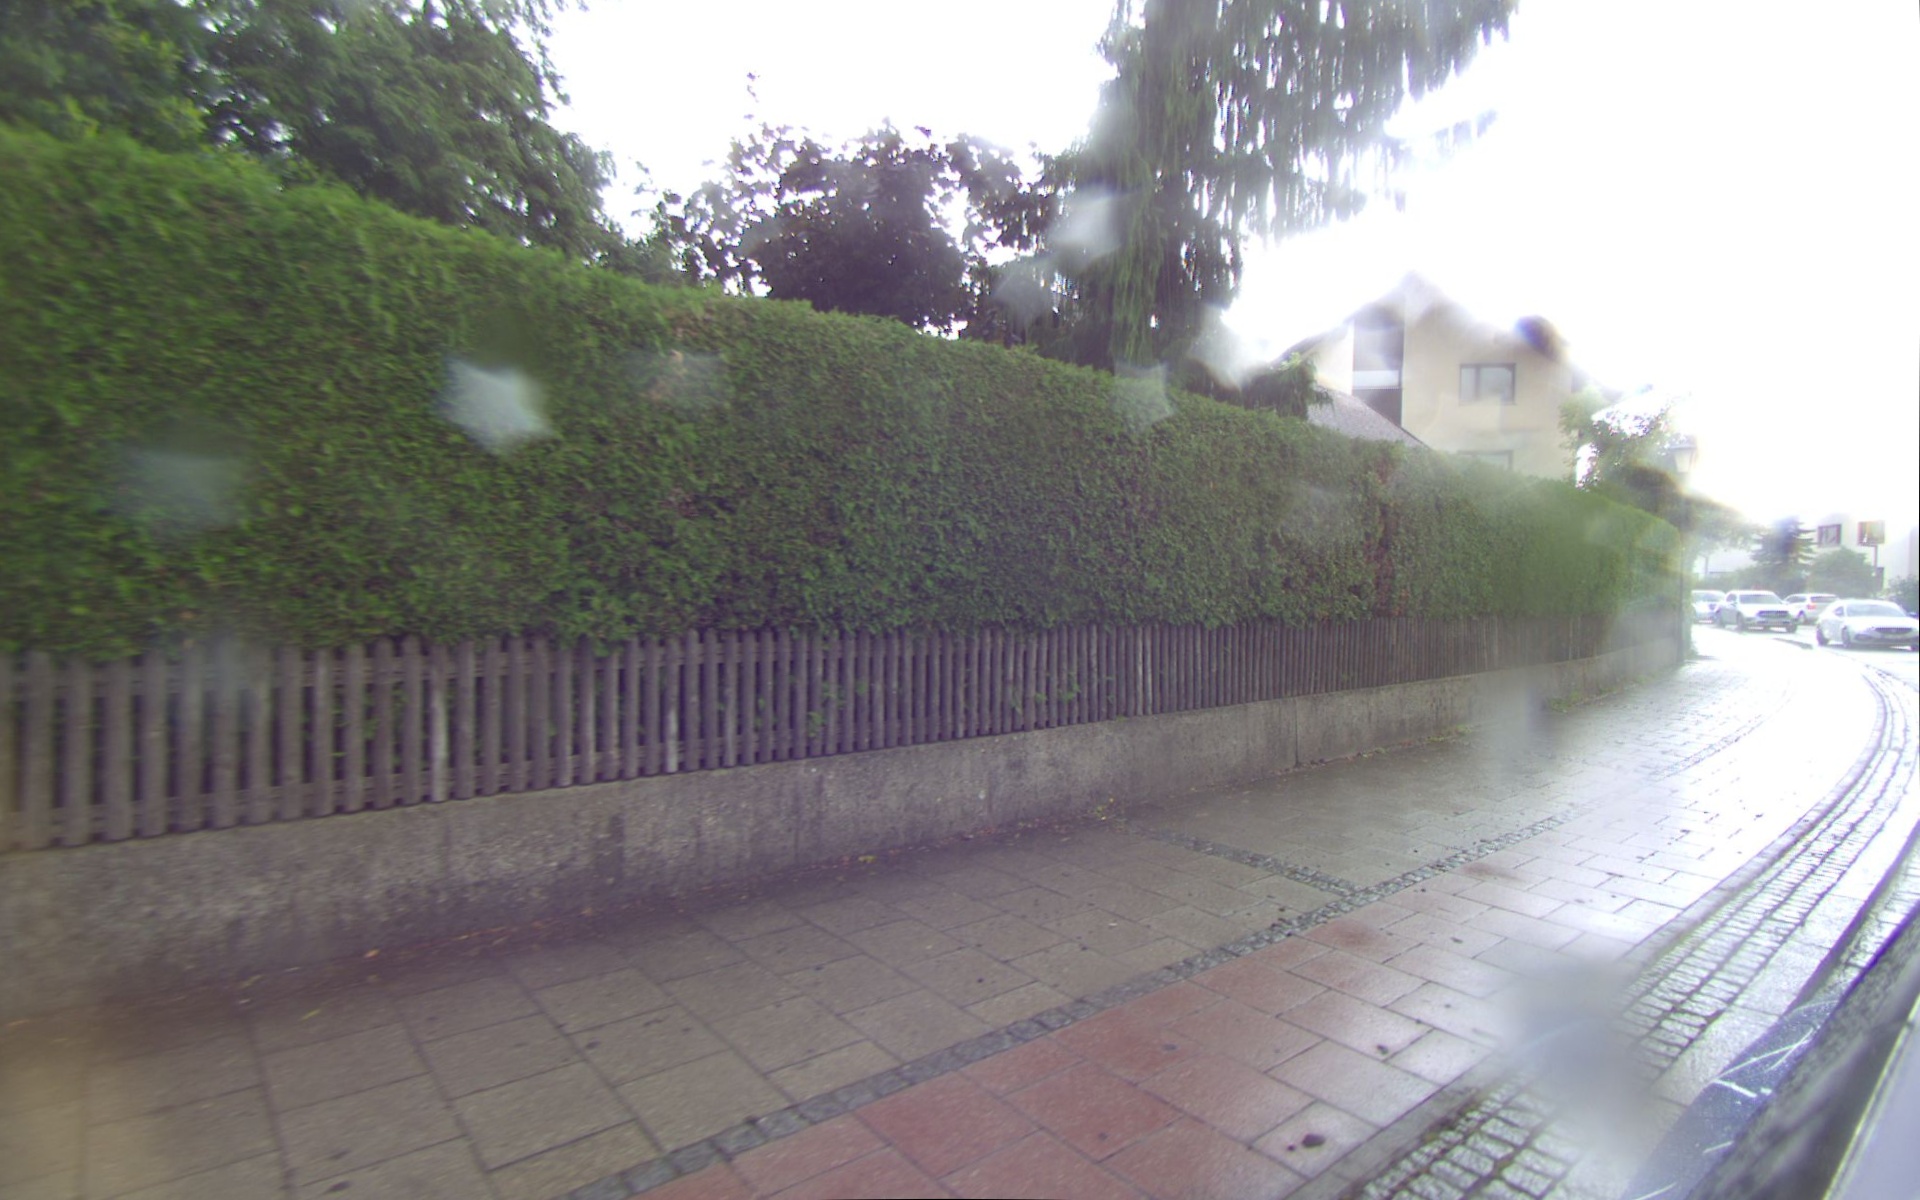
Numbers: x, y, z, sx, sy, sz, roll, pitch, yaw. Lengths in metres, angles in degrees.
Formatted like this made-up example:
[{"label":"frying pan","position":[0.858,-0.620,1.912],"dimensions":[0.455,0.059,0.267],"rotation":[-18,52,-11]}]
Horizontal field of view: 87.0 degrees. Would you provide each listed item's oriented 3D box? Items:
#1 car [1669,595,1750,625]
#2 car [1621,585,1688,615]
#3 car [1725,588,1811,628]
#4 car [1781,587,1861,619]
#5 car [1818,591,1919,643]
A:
[{"label":"car","position":[36.692,0.474,49.678],"dimensions":[1.770,1.391,4.260],"rotation":[-1,0,16]},{"label":"car","position":[38.366,-0.031,56.005],"dimensions":[1.770,1.568,4.260],"rotation":[-1,0,16]},{"label":"car","position":[33.496,0.304,42.074],"dimensions":[1.776,1.568,4.245],"rotation":[-1,0,24]},{"label":"car","position":[40.572,0.119,47.770],"dimensions":[1.602,1.462,3.649],"rotation":[0,1,18]},{"label":"car","position":[27.686,0.472,30.522],"dimensions":[1.778,1.412,4.241],"rotation":[-1,0,27]}]
